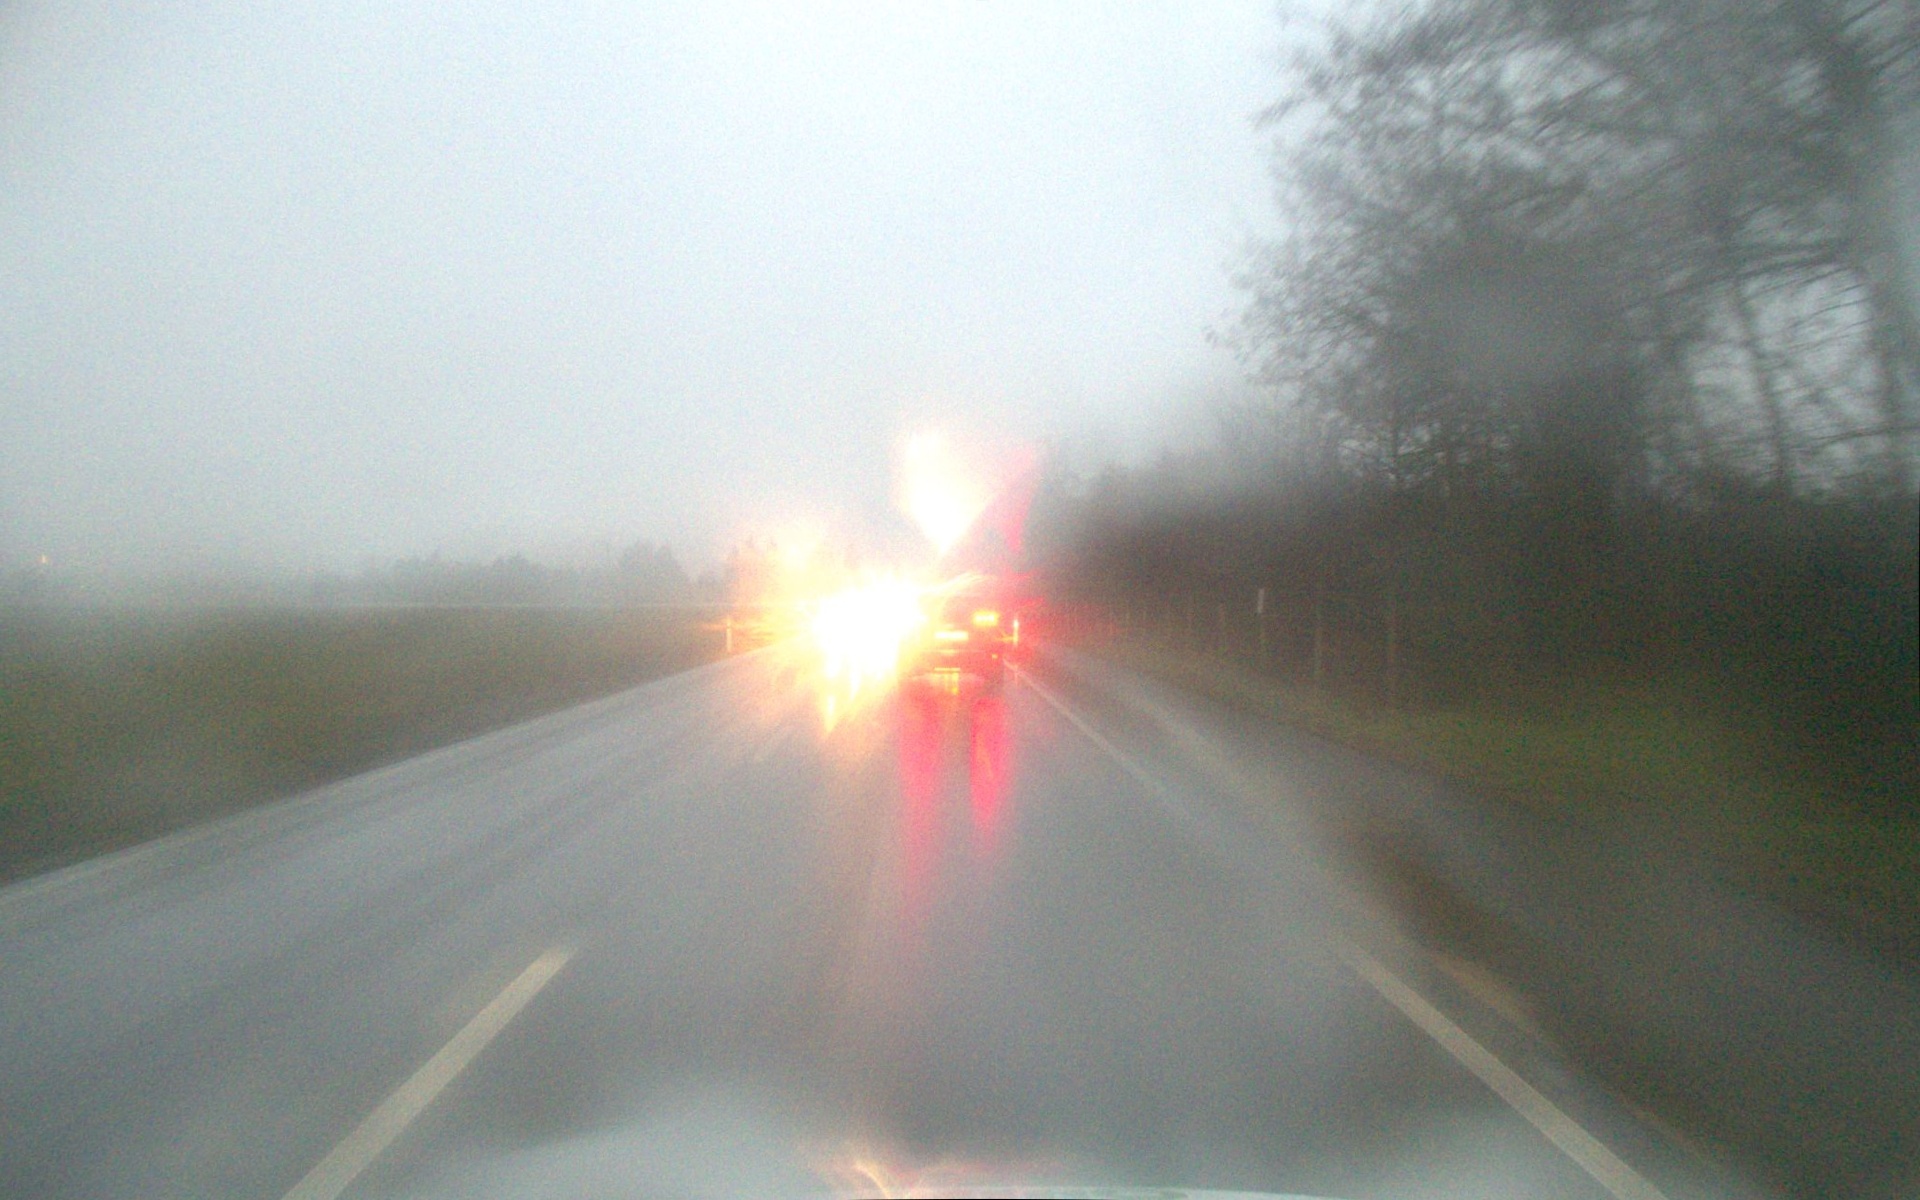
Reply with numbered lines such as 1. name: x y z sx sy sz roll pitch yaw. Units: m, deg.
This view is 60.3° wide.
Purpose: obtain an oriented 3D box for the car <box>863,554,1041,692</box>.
1. car: -0.140 0.371 29.032 2.763 2.113 5.803 1 0 0

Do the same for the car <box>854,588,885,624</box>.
1. car: -5.688 0.370 104.636 1.877 2.175 4.311 -1 0 -3

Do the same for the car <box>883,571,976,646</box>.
1. car: -0.862 0.237 49.046 2.539 2.049 5.803 1 0 0

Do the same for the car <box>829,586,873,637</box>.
1. car: -4.838 0.483 73.984 1.877 2.175 4.311 -1 0 -3
